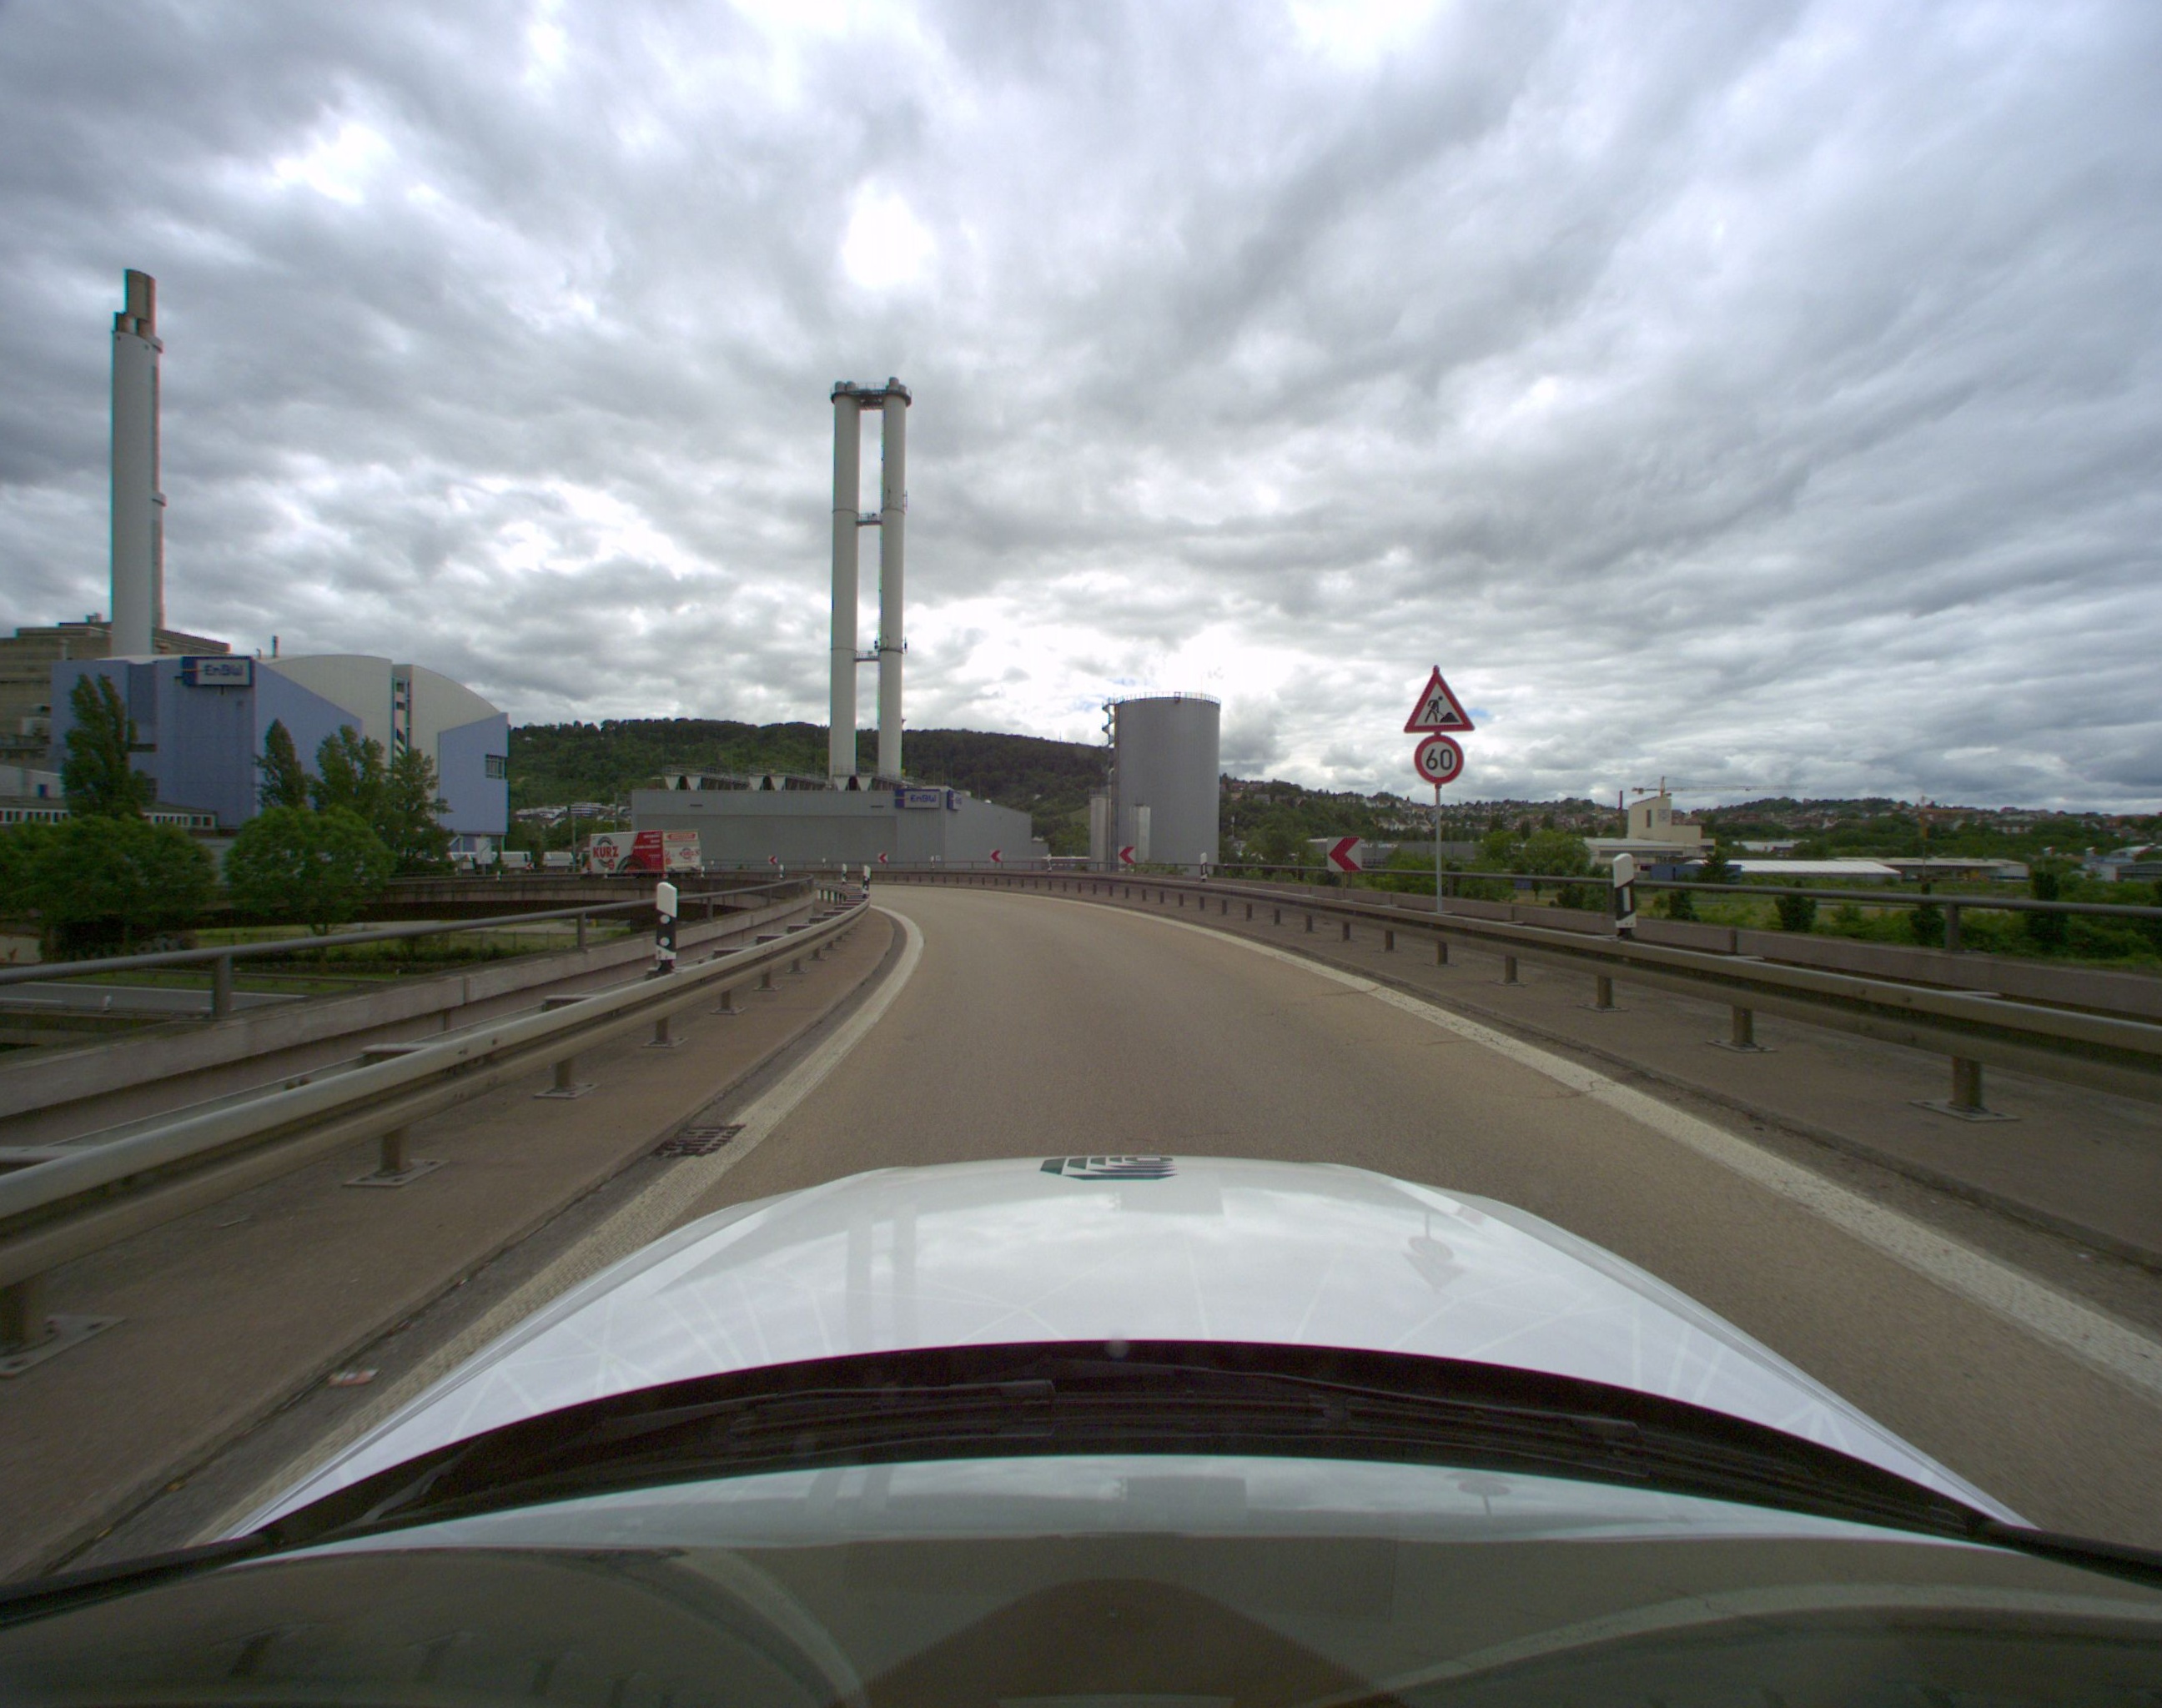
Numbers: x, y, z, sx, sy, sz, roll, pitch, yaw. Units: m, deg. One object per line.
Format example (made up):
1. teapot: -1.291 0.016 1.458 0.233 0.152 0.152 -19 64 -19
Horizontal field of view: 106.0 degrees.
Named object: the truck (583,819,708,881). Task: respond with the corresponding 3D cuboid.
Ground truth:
1. truck: -27.562 -0.186 51.441 7.827 3.673 3.079 -1 0 28
